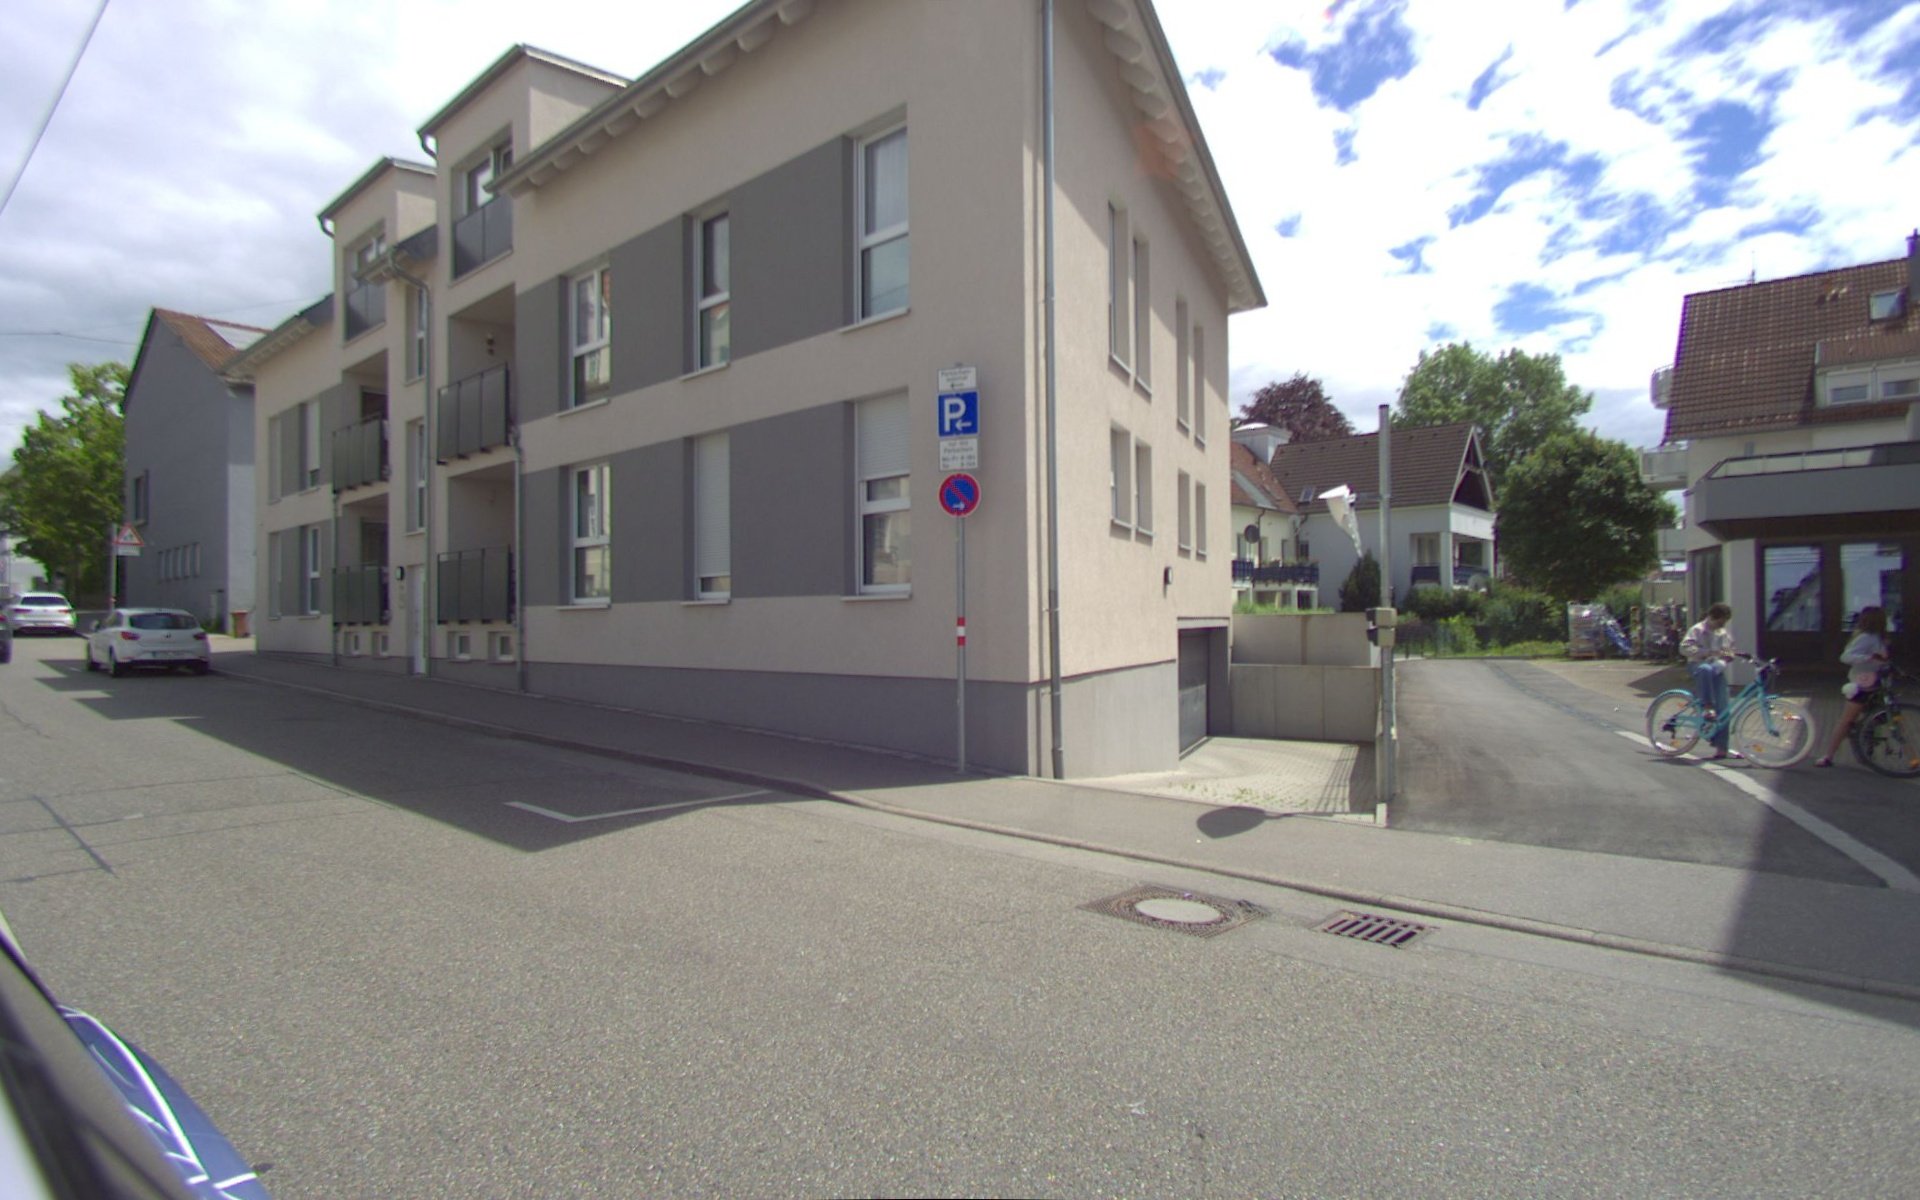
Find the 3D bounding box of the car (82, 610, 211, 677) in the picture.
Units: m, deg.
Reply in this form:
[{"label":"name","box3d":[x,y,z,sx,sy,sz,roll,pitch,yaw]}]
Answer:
[{"label":"car","box3d":[-17.760,0.905,22.052,3.472,1.340,1.644,-1,-1,42]}]

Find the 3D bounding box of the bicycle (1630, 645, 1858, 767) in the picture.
[{"label":"bicycle","box3d":[6.738,0.875,8.806,0.451,0.924,1.593,-1,-2,-14]}]

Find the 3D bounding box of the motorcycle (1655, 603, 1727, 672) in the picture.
[{"label":"motorcycle","box3d":[17.301,0.845,23.897,0.860,1.530,3.748,-1,-2,44]}]

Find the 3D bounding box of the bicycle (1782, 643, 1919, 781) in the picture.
[{"label":"bicycle","box3d":[7.517,0.857,8.236,0.549,0.961,1.684,-2,-1,13]}]

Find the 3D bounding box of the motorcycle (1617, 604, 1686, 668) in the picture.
[{"label":"motorcycle","box3d":[17.644,0.874,25.777,0.860,1.530,3.567,-1,-2,44]}]

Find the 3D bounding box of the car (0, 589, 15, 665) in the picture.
[{"label":"car","box3d":[-24.184,0.646,23.940,4.589,1.732,1.923,-2,-2,37]}]

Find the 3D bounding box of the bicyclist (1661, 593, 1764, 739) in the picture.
[{"label":"bicyclist","box3d":[6.663,0.566,8.967,0.631,1.251,0.428,0,0,-16]}]

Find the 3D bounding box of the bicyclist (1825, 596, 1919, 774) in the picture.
[{"label":"bicyclist","box3d":[7.476,0.670,8.129,0.583,1.376,0.423,-3,-2,14]}]

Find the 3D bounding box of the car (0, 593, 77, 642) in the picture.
[{"label":"car","box3d":[-31.181,0.566,34.030,4.066,1.499,1.714,2,0,42]}]
